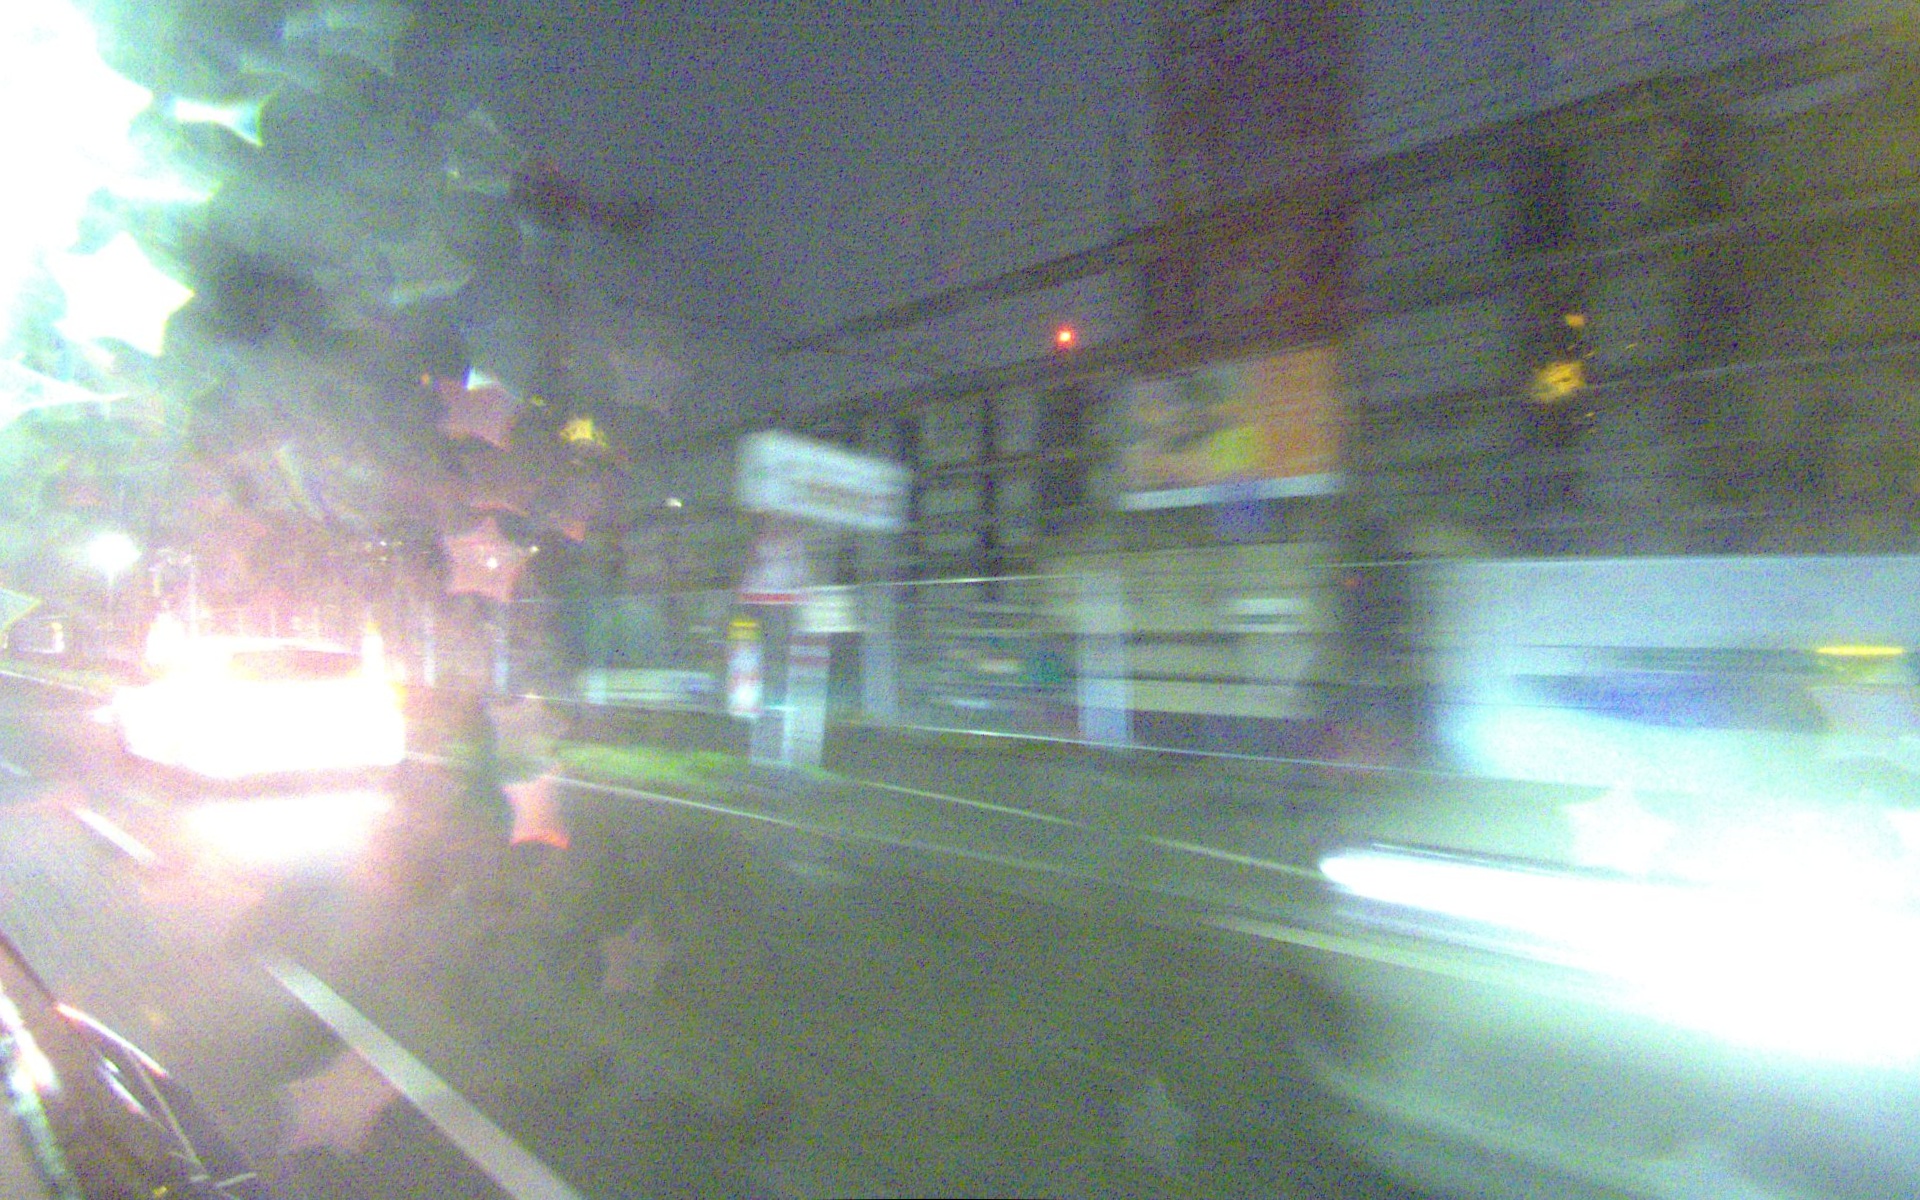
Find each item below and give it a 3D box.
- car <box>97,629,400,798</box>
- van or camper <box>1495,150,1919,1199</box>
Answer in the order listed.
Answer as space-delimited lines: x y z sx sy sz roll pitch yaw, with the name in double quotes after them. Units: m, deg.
-7.615 1.041 10.687 3.998 1.444 1.727 -2 -3 42 "car"
3.488 0.350 0.998 4.939 2.119 1.851 -2 -2 41 "van or camper"
